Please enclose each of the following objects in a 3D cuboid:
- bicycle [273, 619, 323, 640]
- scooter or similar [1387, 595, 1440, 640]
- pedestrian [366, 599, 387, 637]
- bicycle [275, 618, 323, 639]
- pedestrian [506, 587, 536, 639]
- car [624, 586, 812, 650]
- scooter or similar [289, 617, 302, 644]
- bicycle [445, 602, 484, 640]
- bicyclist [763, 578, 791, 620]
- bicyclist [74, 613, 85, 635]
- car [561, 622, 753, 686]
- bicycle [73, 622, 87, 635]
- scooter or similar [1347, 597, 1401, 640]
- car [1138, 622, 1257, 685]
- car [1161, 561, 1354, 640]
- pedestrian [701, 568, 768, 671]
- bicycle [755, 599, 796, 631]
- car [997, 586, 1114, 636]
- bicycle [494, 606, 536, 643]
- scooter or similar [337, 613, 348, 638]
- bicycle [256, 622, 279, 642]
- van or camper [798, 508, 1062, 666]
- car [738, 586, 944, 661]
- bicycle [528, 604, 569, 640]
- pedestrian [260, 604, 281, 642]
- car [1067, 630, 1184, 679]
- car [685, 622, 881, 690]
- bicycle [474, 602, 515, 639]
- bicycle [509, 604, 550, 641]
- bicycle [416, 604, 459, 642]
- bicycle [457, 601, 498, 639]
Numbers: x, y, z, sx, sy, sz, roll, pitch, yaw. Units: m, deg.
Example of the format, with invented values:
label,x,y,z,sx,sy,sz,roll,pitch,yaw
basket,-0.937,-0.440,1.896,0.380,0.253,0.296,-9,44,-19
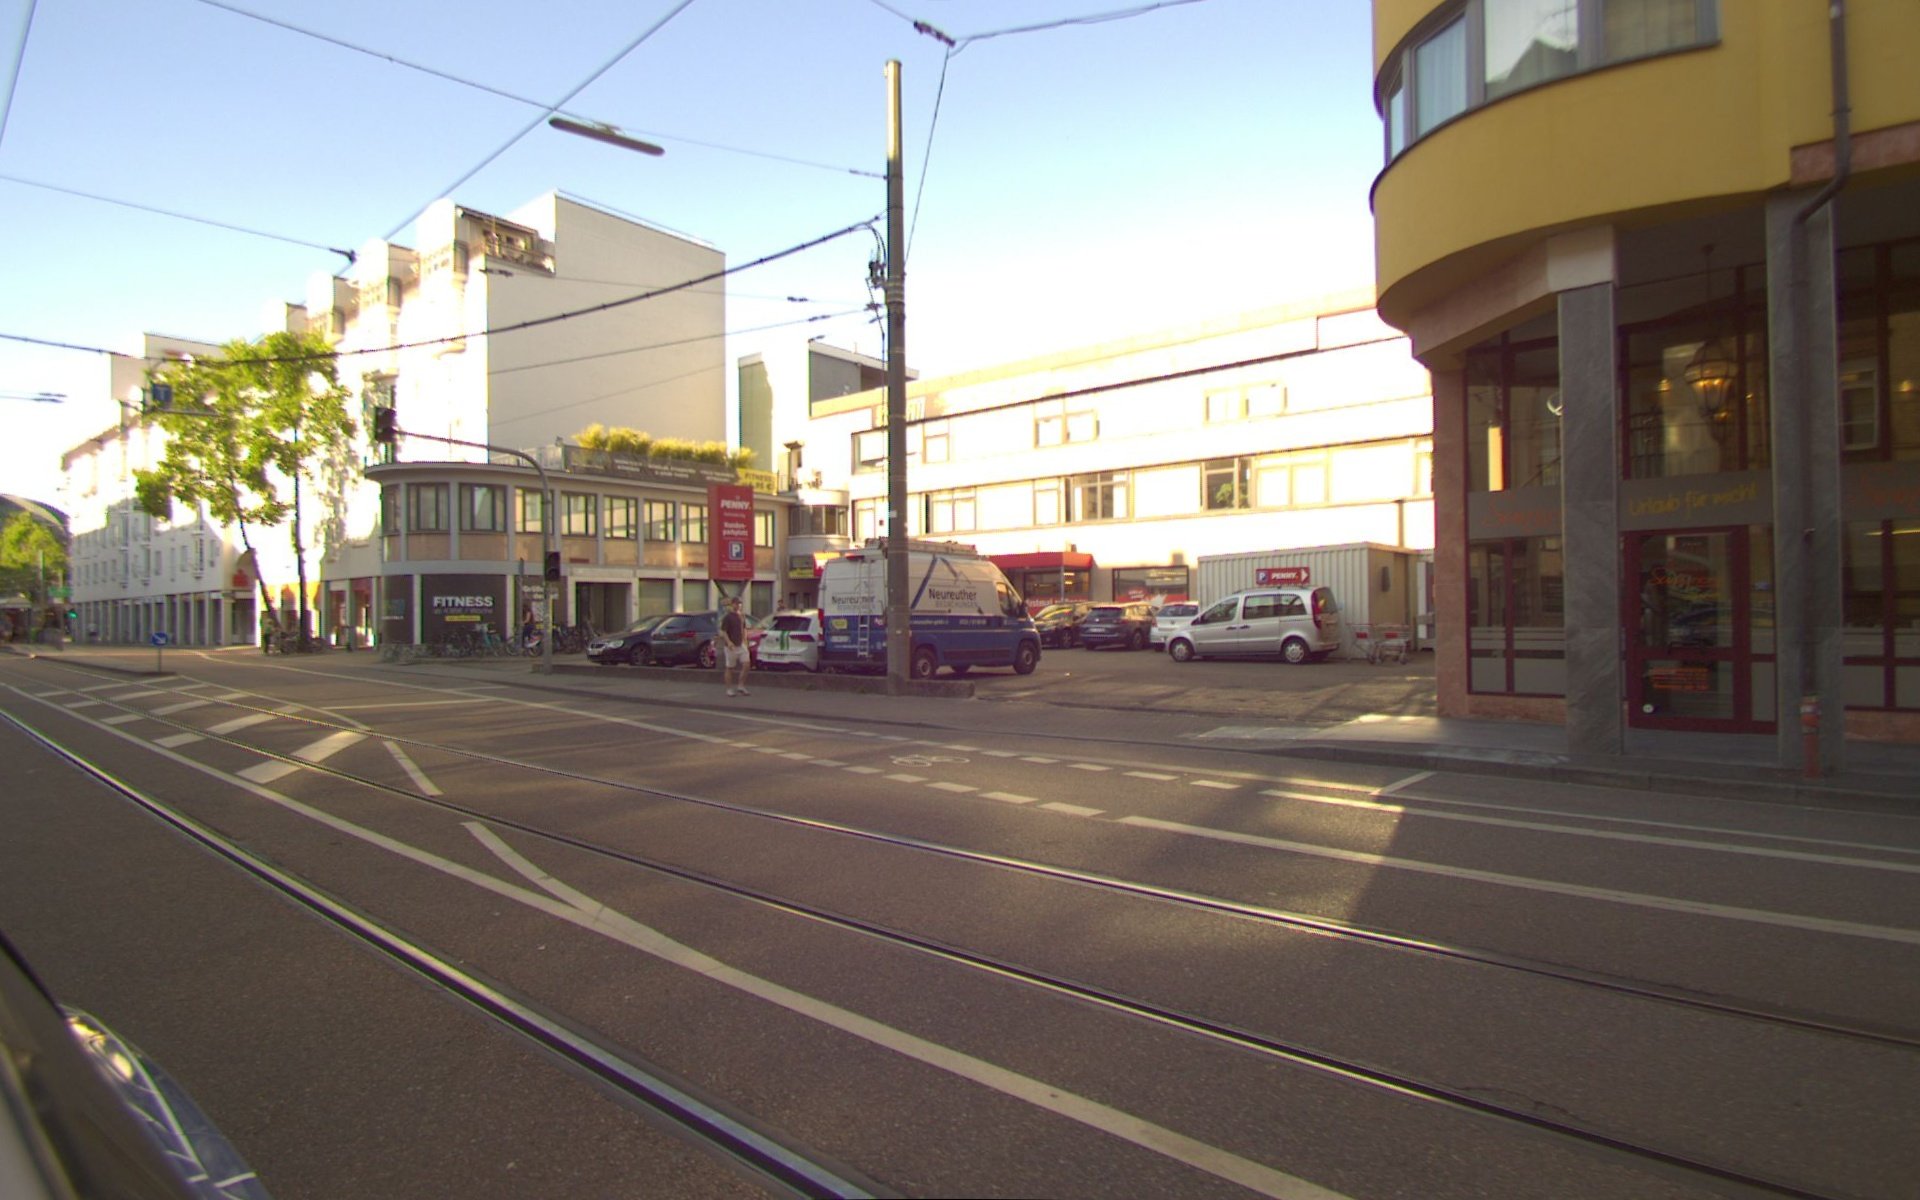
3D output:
label,x,y,z,sx,sy,sz,roll,pitch,yaw
bicycle,-29.875,1.322,45.706,0.389,0.919,1.824,-2,-1,45
scooter or similar,10.291,0.403,22.940,0.808,0.992,1.258,-2,-3,37
pedestrian,-26.534,0.820,46.016,0.621,1.729,0.827,0,-2,-17
bicycle,-30.462,1.304,46.645,0.389,0.919,1.824,-5,-3,45
pedestrian,-14.656,0.435,33.806,0.682,1.710,0.674,-3,-3,38
car,-6.151,0.492,26.156,1.878,1.487,4.542,-3,-3,40
scooter or similar,-32.618,1.486,49.658,0.373,1.288,1.182,-3,0,-38
bicycle,-16.254,0.695,33.197,1.829,1.196,0.436,-3,-3,39
bicyclist,-6.980,-0.036,38.602,0.687,1.561,0.831,-2,-2,23
bicyclist,-68.288,1.839,78.518,0.807,1.713,0.508,-2,-1,40
car,-8.200,1.422,27.766,1.878,1.595,4.845,-3,-3,40
bicycle,-68.286,2.184,78.525,1.726,0.996,0.512,-2,-1,41
scooter or similar,9.601,0.429,23.466,0.847,0.962,1.274,-2,-3,37
car,7.090,1.539,30.014,1.997,1.713,3.950,-2,-2,37
car,7.253,0.082,24.862,4.115,1.749,1.974,-2,-3,38
pedestrian,-4.139,0.368,18.597,0.908,1.846,0.825,-3,-3,39
bicycle,-7.004,0.583,38.505,0.678,1.180,1.817,-2,-2,22
car,3.145,0.372,32.791,1.997,1.519,3.950,-2,-2,37
bicycle,-14.964,0.830,34.002,1.828,1.196,0.444,-2,-3,37
scooter or similar,-28.047,1.169,45.946,0.330,1.120,1.183,0,-2,-27
bicycle,-31.330,1.451,45.790,1.850,0.919,0.384,-2,-1,41
van or camper,-0.450,-0.264,21.106,2.313,2.848,5.549,-3,-1,40
car,-2.540,0.540,22.549,1.878,1.487,4.542,-3,-3,40
bicycle,-14.160,0.751,34.778,1.828,1.196,0.444,-2,-3,37
pedestrian,-31.475,1.052,46.176,0.621,1.729,0.828,0,-2,-23
car,5.218,1.647,31.506,1.997,1.364,3.950,-2,-2,37
car,-4.168,1.309,24.480,1.878,1.487,4.542,-3,-3,40
bicycle,-15.606,0.707,33.889,1.828,1.196,0.439,-2,-3,37
bicycle,-14.627,0.775,34.391,1.828,1.196,0.444,-2,-3,37
bicycle,-17.216,0.769,33.343,1.826,1.196,0.442,-2,-3,34
bicycle,-16.004,0.671,33.554,1.828,1.196,0.444,-2,-3,37
